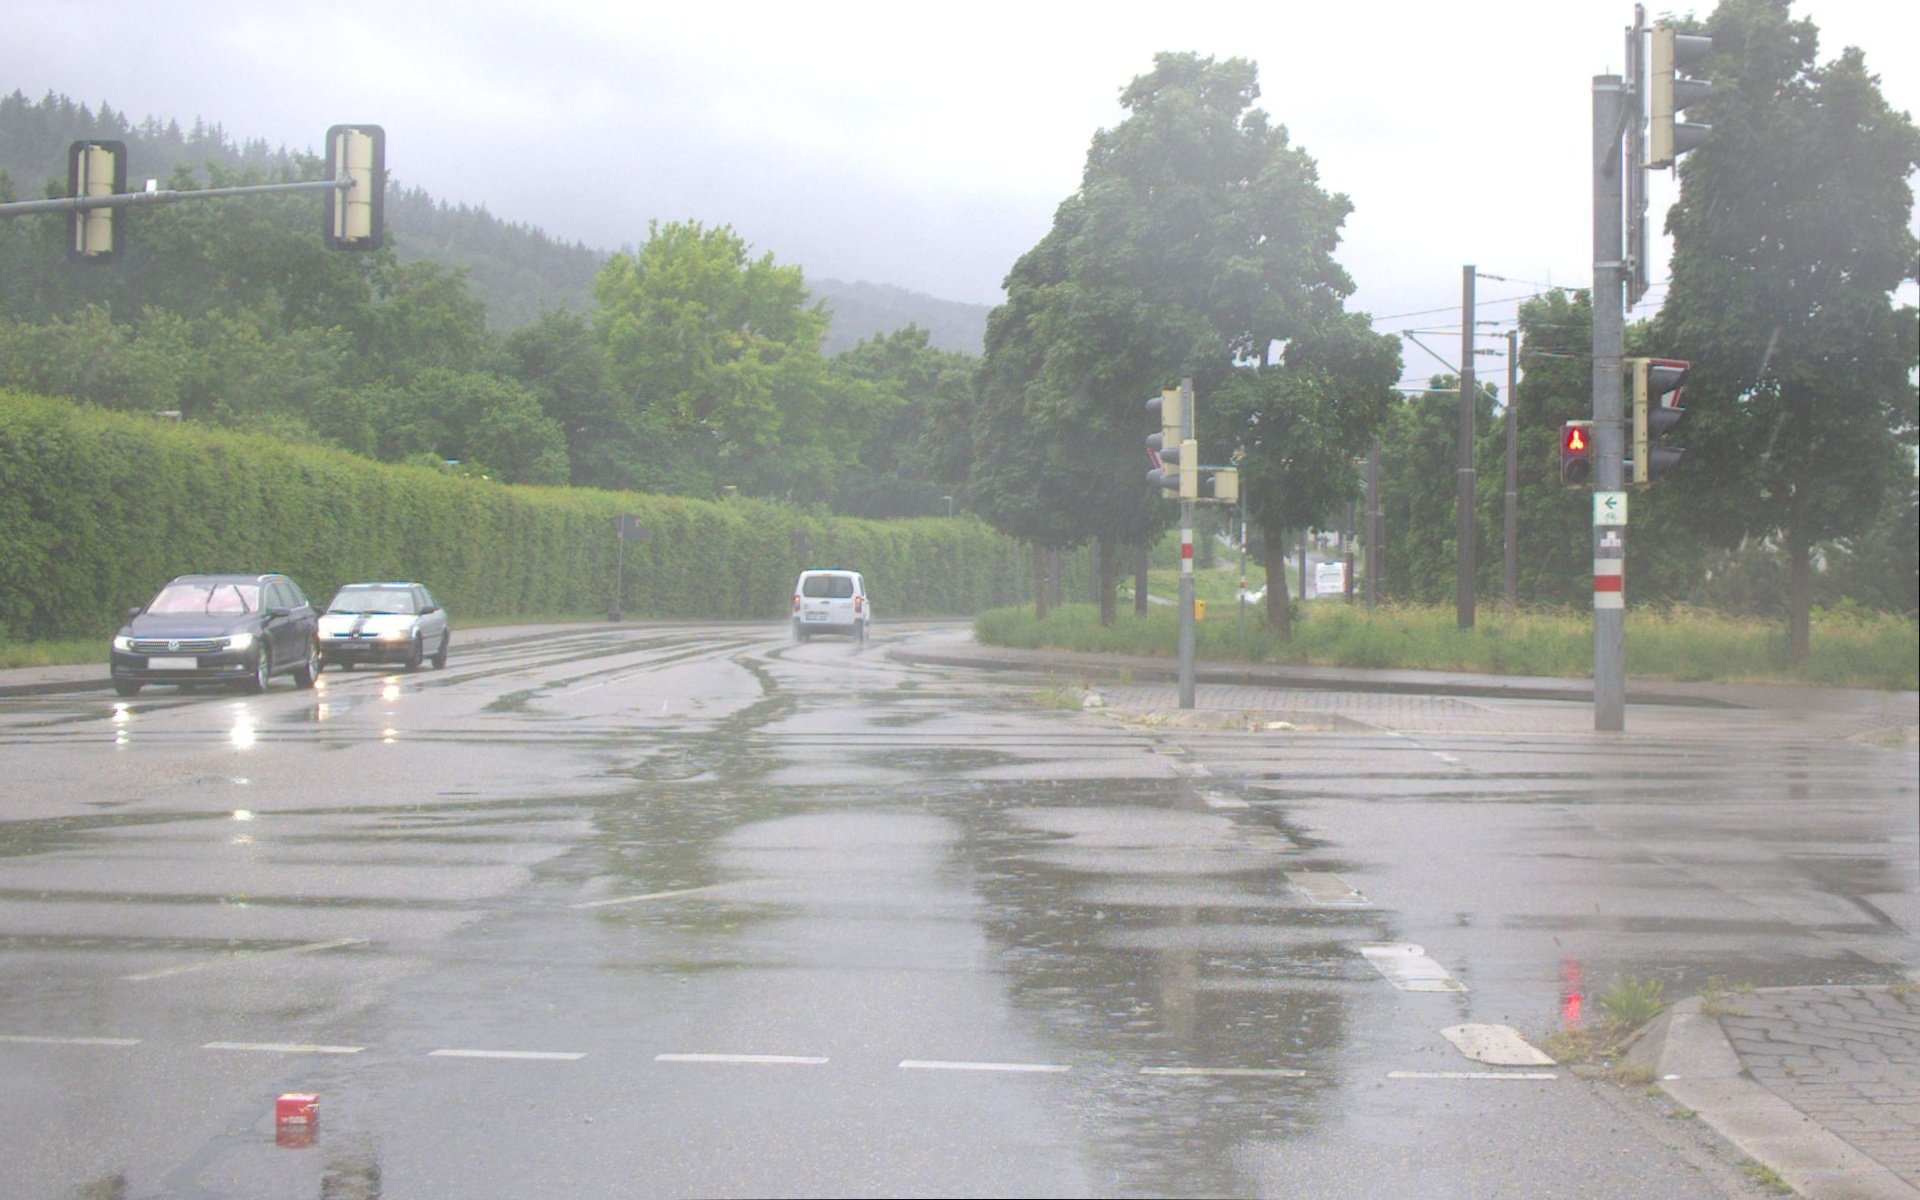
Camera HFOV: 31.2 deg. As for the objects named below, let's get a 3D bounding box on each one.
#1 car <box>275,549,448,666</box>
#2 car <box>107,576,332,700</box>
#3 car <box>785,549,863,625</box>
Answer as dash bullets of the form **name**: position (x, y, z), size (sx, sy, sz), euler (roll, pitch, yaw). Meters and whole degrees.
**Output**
- **car**: position (-9.326, 0.084, 53.865), size (2.036, 1.702, 4.066), euler (1, 1, -1)
- **car**: position (-9.289, 0.436, 43.450), size (1.709, 1.461, 4.452), euler (0, 1, 2)
- **car**: position (-3.476, -0.353, 87.885), size (1.953, 1.897, 4.120), euler (0, 1, -2)
